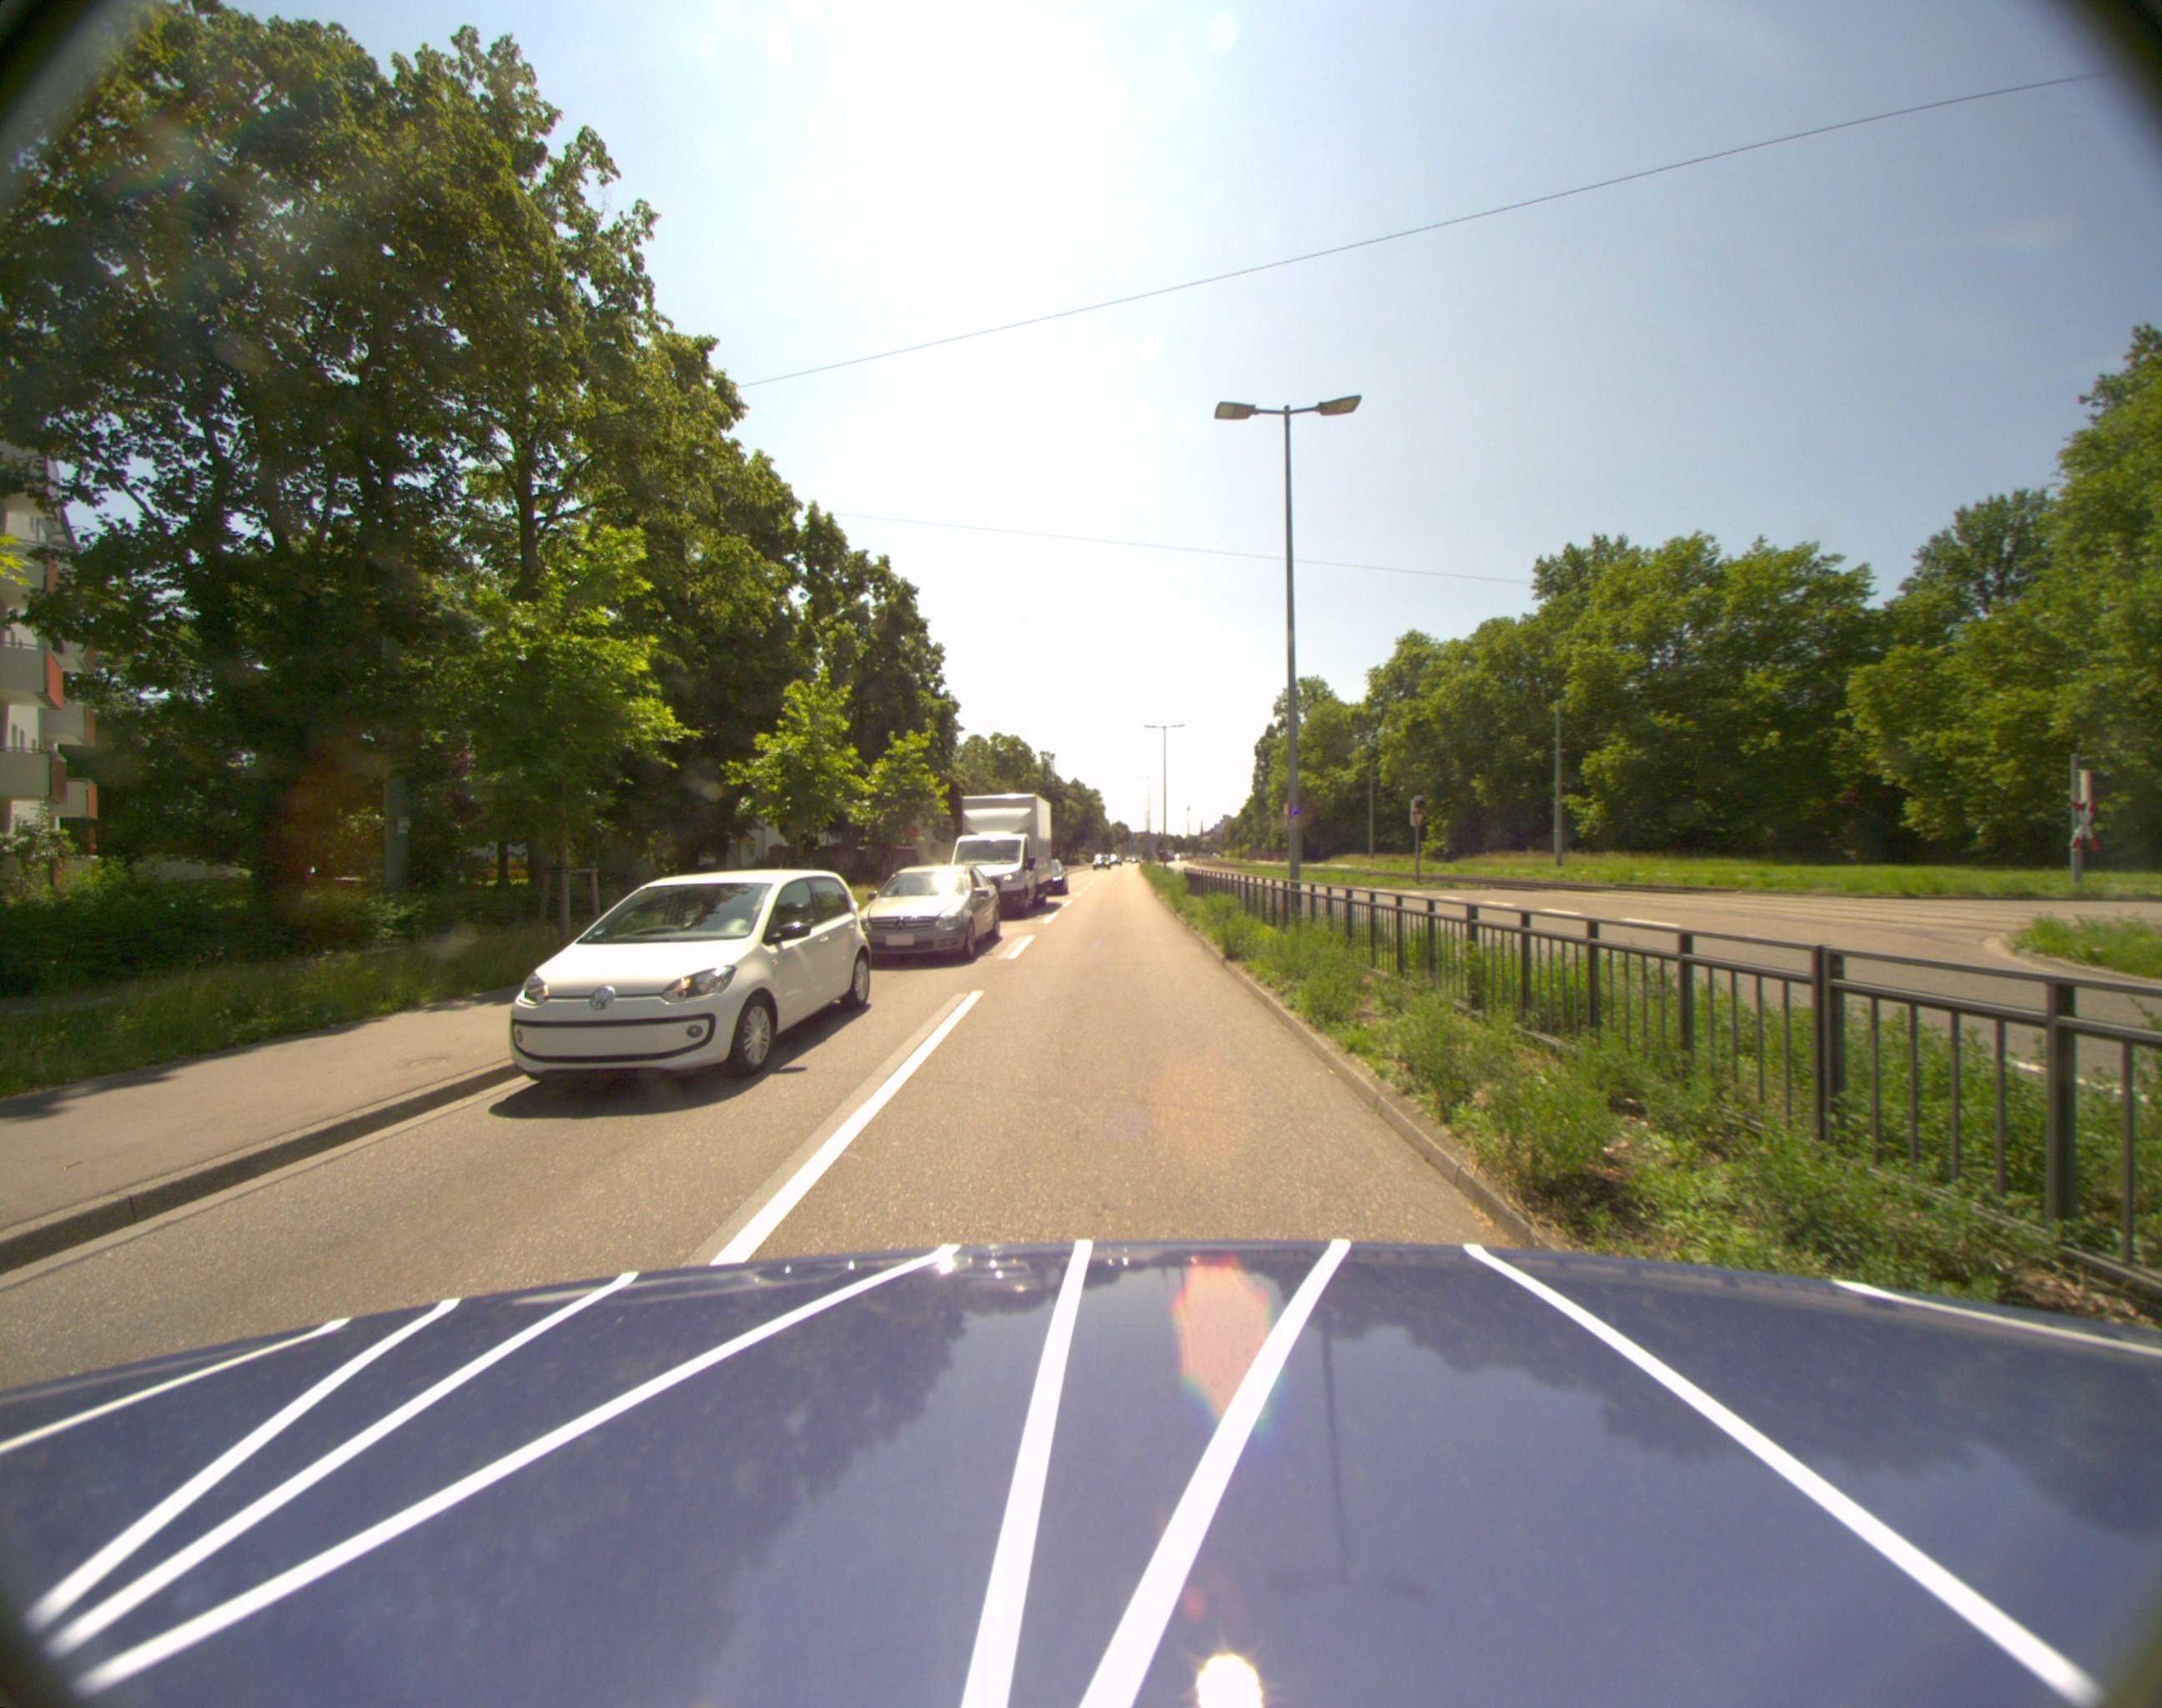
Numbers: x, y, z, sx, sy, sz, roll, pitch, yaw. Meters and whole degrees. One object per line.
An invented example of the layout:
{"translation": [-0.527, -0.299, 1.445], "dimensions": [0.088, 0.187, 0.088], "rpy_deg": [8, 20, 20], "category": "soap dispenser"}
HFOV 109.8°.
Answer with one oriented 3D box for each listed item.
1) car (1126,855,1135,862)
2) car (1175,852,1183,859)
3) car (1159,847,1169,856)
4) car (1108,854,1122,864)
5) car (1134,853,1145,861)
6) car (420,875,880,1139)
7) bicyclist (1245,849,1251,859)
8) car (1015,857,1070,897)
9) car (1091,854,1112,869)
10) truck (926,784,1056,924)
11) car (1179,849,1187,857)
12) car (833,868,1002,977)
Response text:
{"translation": [11.077, 0.978, 170.252], "dimensions": [1.951, 1.499, 4.002], "rpy_deg": [-1, 0, 7], "category": "car"}
{"translation": [26.780, 0.308, 207.226], "dimensions": [1.998, 1.847, 4.001], "rpy_deg": [-1, 0, 5], "category": "car"}
{"translation": [16.856, -0.459, 153.894], "dimensions": [1.997, 1.847, 4.002], "rpy_deg": [-1, 0, 7], "category": "car"}
{"translation": [5.283, 0.741, 117.804], "dimensions": [1.997, 1.499, 4.002], "rpy_deg": [-1, 0, 7], "category": "car"}
{"translation": [11.740, 0.644, 151.807], "dimensions": [1.997, 1.499, 4.002], "rpy_deg": [-1, 0, 7], "category": "car"}
{"translation": [-3.125, 0.988, 6.520], "dimensions": [1.730, 1.470, 3.771], "rpy_deg": [-1, 0, 1], "category": "car"}
{"translation": [30.186, 0.005, 137.353], "dimensions": [0.862, 1.796, 1.118], "rpy_deg": [-1, 1, 1], "category": "bicyclist"}
{"translation": [-1.511, 0.914, 31.488], "dimensions": [1.998, 1.499, 4.000], "rpy_deg": [-1, 0, 1], "category": "car"}
{"translation": [2.337, 0.826, 84.291], "dimensions": [1.997, 1.499, 4.002], "rpy_deg": [-1, 0, 7], "category": "car"}
{"translation": [-2.299, -0.008, 22.280], "dimensions": [2.433, 3.326, 7.923], "rpy_deg": [-1, 0, 3], "category": "truck"}
{"translation": [26.958, -0.291, 200.856], "dimensions": [1.998, 1.847, 4.001], "rpy_deg": [-1, 0, 5], "category": "car"}
{"translation": [-2.474, 0.985, 12.541], "dimensions": [1.840, 1.400, 4.087], "rpy_deg": [-1, 0, 1], "category": "car"}
